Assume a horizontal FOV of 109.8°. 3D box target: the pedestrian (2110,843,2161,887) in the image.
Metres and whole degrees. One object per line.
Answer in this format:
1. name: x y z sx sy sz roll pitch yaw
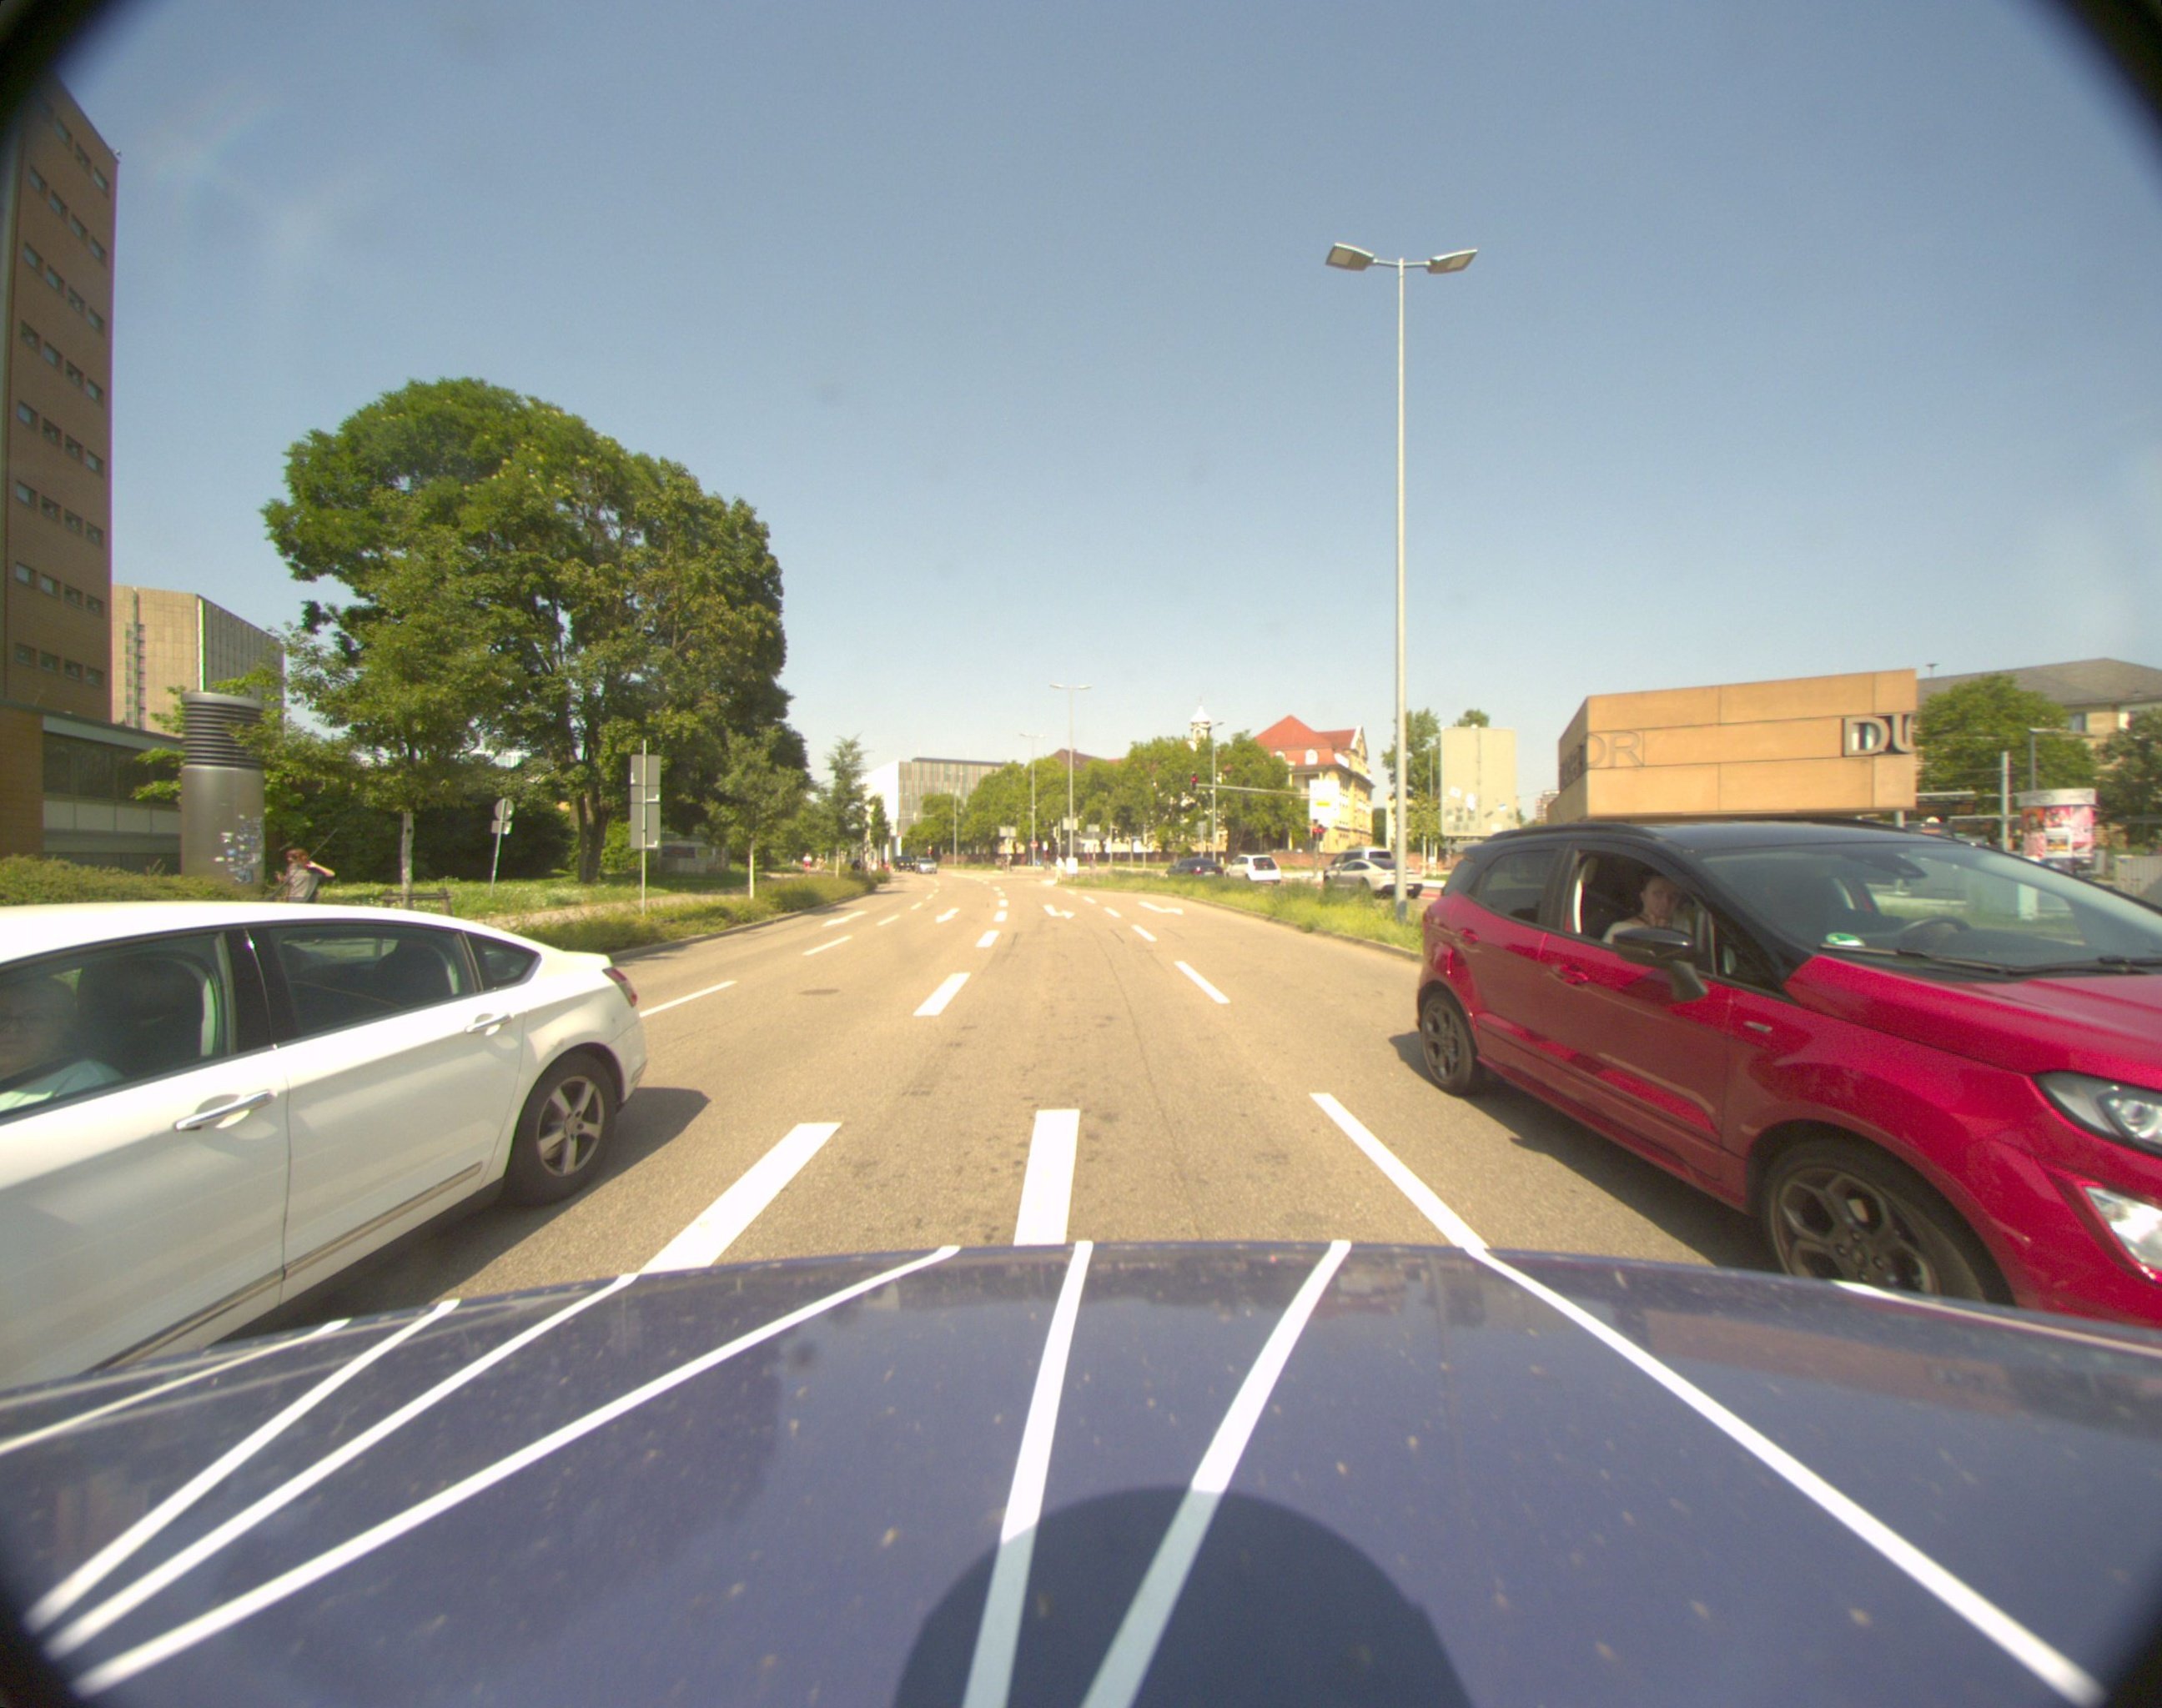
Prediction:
1. pedestrian: 42.229 0.426 30.280 1.076 1.686 1.066 0 1 28

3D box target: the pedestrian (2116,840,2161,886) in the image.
1. pedestrian: 42.147 0.357 30.177 0.927 1.812 0.939 0 1 28

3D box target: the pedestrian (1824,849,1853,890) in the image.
1. pedestrian: 27.869 0.550 27.962 0.539 1.488 0.541 0 1 -1

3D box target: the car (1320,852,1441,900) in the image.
1. car: 10.689 0.733 27.586 2.000 1.576 4.711 0 0 -9

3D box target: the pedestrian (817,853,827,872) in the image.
1. pedestrian: -18.323 0.598 53.760 0.577 1.291 0.436 -3 1 -19

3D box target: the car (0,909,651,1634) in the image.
1. car: -3.283 1.022 1.849 1.773 1.420 4.609 0 0 1

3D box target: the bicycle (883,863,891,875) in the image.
1. bicycle: -20.024 1.532 78.425 0.594 1.162 2.234 0 0 -8

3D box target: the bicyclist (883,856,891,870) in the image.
1. bicyclist: -20.046 0.940 78.463 0.679 1.392 1.048 0 1 -8

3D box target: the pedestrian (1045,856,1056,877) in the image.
1. pedestrian: -1.971 0.786 48.679 0.605 1.291 0.617 -2 1 -4

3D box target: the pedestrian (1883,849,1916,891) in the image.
1. pedestrian: 28.862 0.559 26.801 0.539 1.488 0.541 0 1 -1

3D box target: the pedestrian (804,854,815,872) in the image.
1. pedestrian: -19.138 0.635 53.594 0.635 1.291 0.486 -3 1 -17

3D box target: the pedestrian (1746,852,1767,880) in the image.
1. pedestrian: 26.983 0.466 30.343 0.538 1.093 0.543 0 1 32

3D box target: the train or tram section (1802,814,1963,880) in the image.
1. train or tram section: 48.153 -0.384 46.314 2.698 3.418 13.446 0 0 28

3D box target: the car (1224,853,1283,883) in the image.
1. car: 8.699 0.686 38.563 1.527 1.470 3.473 0 0 -13

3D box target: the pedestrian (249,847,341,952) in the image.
1. pedestrian: -13.098 0.736 12.685 0.672 1.689 0.805 0 0 -3

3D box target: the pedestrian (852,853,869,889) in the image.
1. pedestrian: -11.792 0.919 40.616 0.823 1.892 0.630 -1 1 -12

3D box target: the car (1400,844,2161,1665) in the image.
1. car: 2.973 0.780 3.142 1.694 1.577 3.845 -2 0 1

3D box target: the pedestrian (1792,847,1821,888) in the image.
1. pedestrian: 26.896 0.494 28.180 0.539 1.488 0.541 0 1 -1

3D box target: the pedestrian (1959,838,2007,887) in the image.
1. pedestrian: 27.720 0.262 23.359 0.771 1.488 0.606 0 1 -1

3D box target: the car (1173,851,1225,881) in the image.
1. car: 5.697 0.556 36.951 1.526 1.417 3.474 0 0 -8

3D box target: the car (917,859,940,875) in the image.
1. car: -15.556 1.316 77.392 1.661 1.521 4.526 -2 0 -19

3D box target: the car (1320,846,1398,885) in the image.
1. car: 13.723 0.508 37.759 1.869 1.843 3.911 0 1 -12

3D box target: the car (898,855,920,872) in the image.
1. car: -20.261 1.052 89.426 1.893 1.908 4.526 -2 0 -20

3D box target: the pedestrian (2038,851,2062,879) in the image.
1. pedestrian: 47.175 0.535 36.987 0.554 1.386 0.534 0 1 28
